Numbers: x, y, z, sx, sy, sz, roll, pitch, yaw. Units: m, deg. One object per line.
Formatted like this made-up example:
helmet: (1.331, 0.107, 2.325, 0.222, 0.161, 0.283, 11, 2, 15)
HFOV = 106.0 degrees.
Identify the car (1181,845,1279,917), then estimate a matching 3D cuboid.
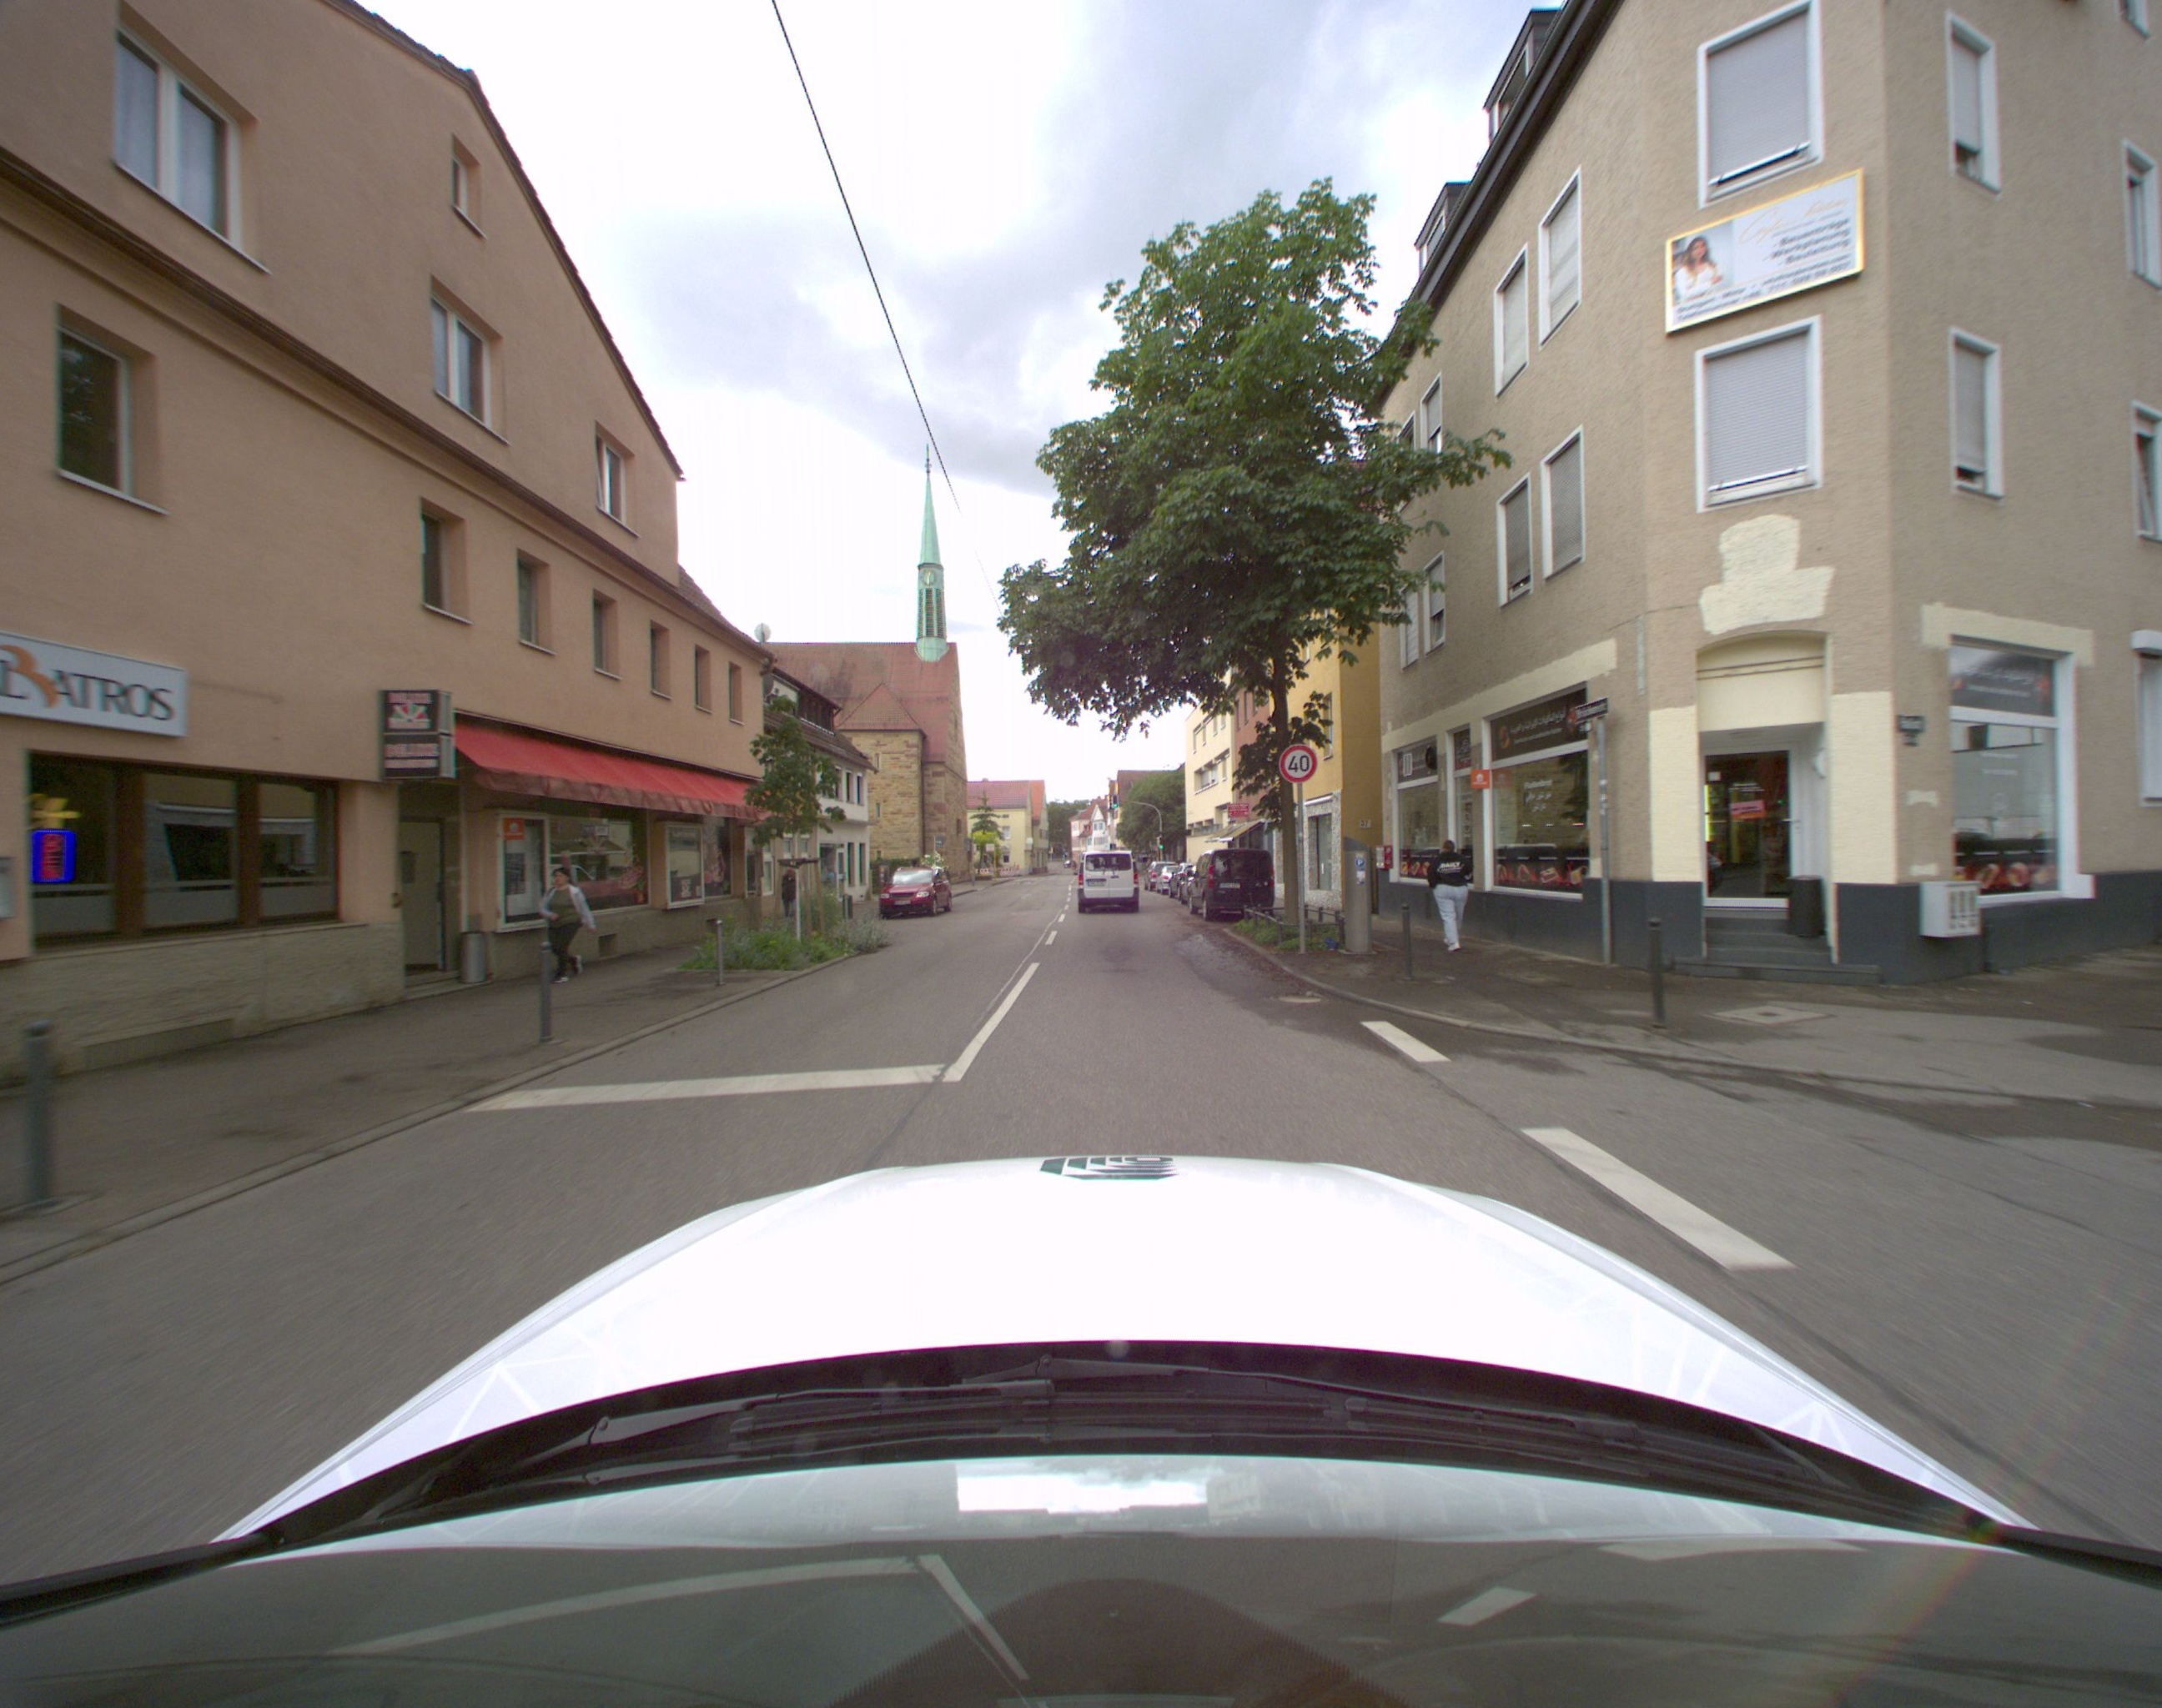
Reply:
car: (3.981, 0.692, 22.446, 1.814, 1.781, 4.401, -1, 0, -1)

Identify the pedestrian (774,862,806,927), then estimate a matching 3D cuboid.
pedestrian: (-7.576, 1.028, 21.222, 0.732, 1.628, 0.753, -1, 0, -20)

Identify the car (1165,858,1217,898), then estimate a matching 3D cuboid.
car: (4.574, 0.969, 34.356, 1.597, 1.518, 4.208, -2, 0, 0)

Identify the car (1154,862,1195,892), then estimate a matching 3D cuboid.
car: (4.533, 1.080, 39.779, 1.546, 1.333, 3.811, -1, 0, 0)

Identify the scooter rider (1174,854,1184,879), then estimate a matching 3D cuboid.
scooter rider: (6.520, 0.860, 54.184, 0.453, 1.632, 0.502, -3, -2, -14)

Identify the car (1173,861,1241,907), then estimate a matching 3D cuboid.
car: (4.349, 1.003, 28.691, 1.744, 1.406, 4.512, -2, 0, 1)

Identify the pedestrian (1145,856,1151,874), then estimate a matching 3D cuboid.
pedestrian: (6.776, 1.110, 82.303, 0.599, 1.716, 0.861, -1, 0, 7)

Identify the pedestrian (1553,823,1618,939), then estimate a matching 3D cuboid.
pedestrian: (6.955, 0.367, 11.247, 0.565, 1.560, 0.521, 0, -1, 1)

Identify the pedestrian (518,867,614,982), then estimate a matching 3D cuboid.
pedestrian: (-7.273, 0.962, 11.548, 0.736, 1.535, 0.982, 0, 0, -1)

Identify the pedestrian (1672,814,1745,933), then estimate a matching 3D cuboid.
pedestrian: (8.404, 0.255, 10.924, 0.565, 1.560, 0.521, 0, -1, 1)

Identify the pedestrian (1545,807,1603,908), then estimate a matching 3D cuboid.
pedestrian: (7.790, 0.053, 12.884, 0.565, 1.560, 0.561, 0, -1, 1)

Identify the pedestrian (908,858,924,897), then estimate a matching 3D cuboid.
pedestrian: (-7.943, 1.108, 39.167, 0.569, 1.848, 0.697, 2, 0, 1)

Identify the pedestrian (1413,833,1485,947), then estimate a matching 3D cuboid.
pedestrian: (5.594, 0.524, 12.418, 0.612, 1.653, 0.982, -2, 0, 0)

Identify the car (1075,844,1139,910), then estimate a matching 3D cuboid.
car: (0.814, 0.712, 26.048, 1.866, 1.912, 4.001, -1, -1, 1)

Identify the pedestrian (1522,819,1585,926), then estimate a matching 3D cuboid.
pedestrian: (7.084, 0.269, 12.228, 0.565, 1.560, 0.655, 0, -1, 1)

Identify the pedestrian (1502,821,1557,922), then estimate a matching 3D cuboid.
pedestrian: (7.077, 0.275, 12.865, 0.565, 1.560, 0.556, 0, -1, 1)

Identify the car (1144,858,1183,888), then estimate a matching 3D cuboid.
car: (4.428, 1.003, 44.372, 1.706, 1.560, 3.784, -1, 0, 0)

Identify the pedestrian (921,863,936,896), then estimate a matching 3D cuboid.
pedestrian: (-7.180, 1.202, 38.370, 0.569, 1.554, 0.697, 1, 0, 1)

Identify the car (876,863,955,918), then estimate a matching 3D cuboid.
car: (-5.546, 1.172, 27.845, 1.697, 1.574, 4.450, -3, 0, 0)
